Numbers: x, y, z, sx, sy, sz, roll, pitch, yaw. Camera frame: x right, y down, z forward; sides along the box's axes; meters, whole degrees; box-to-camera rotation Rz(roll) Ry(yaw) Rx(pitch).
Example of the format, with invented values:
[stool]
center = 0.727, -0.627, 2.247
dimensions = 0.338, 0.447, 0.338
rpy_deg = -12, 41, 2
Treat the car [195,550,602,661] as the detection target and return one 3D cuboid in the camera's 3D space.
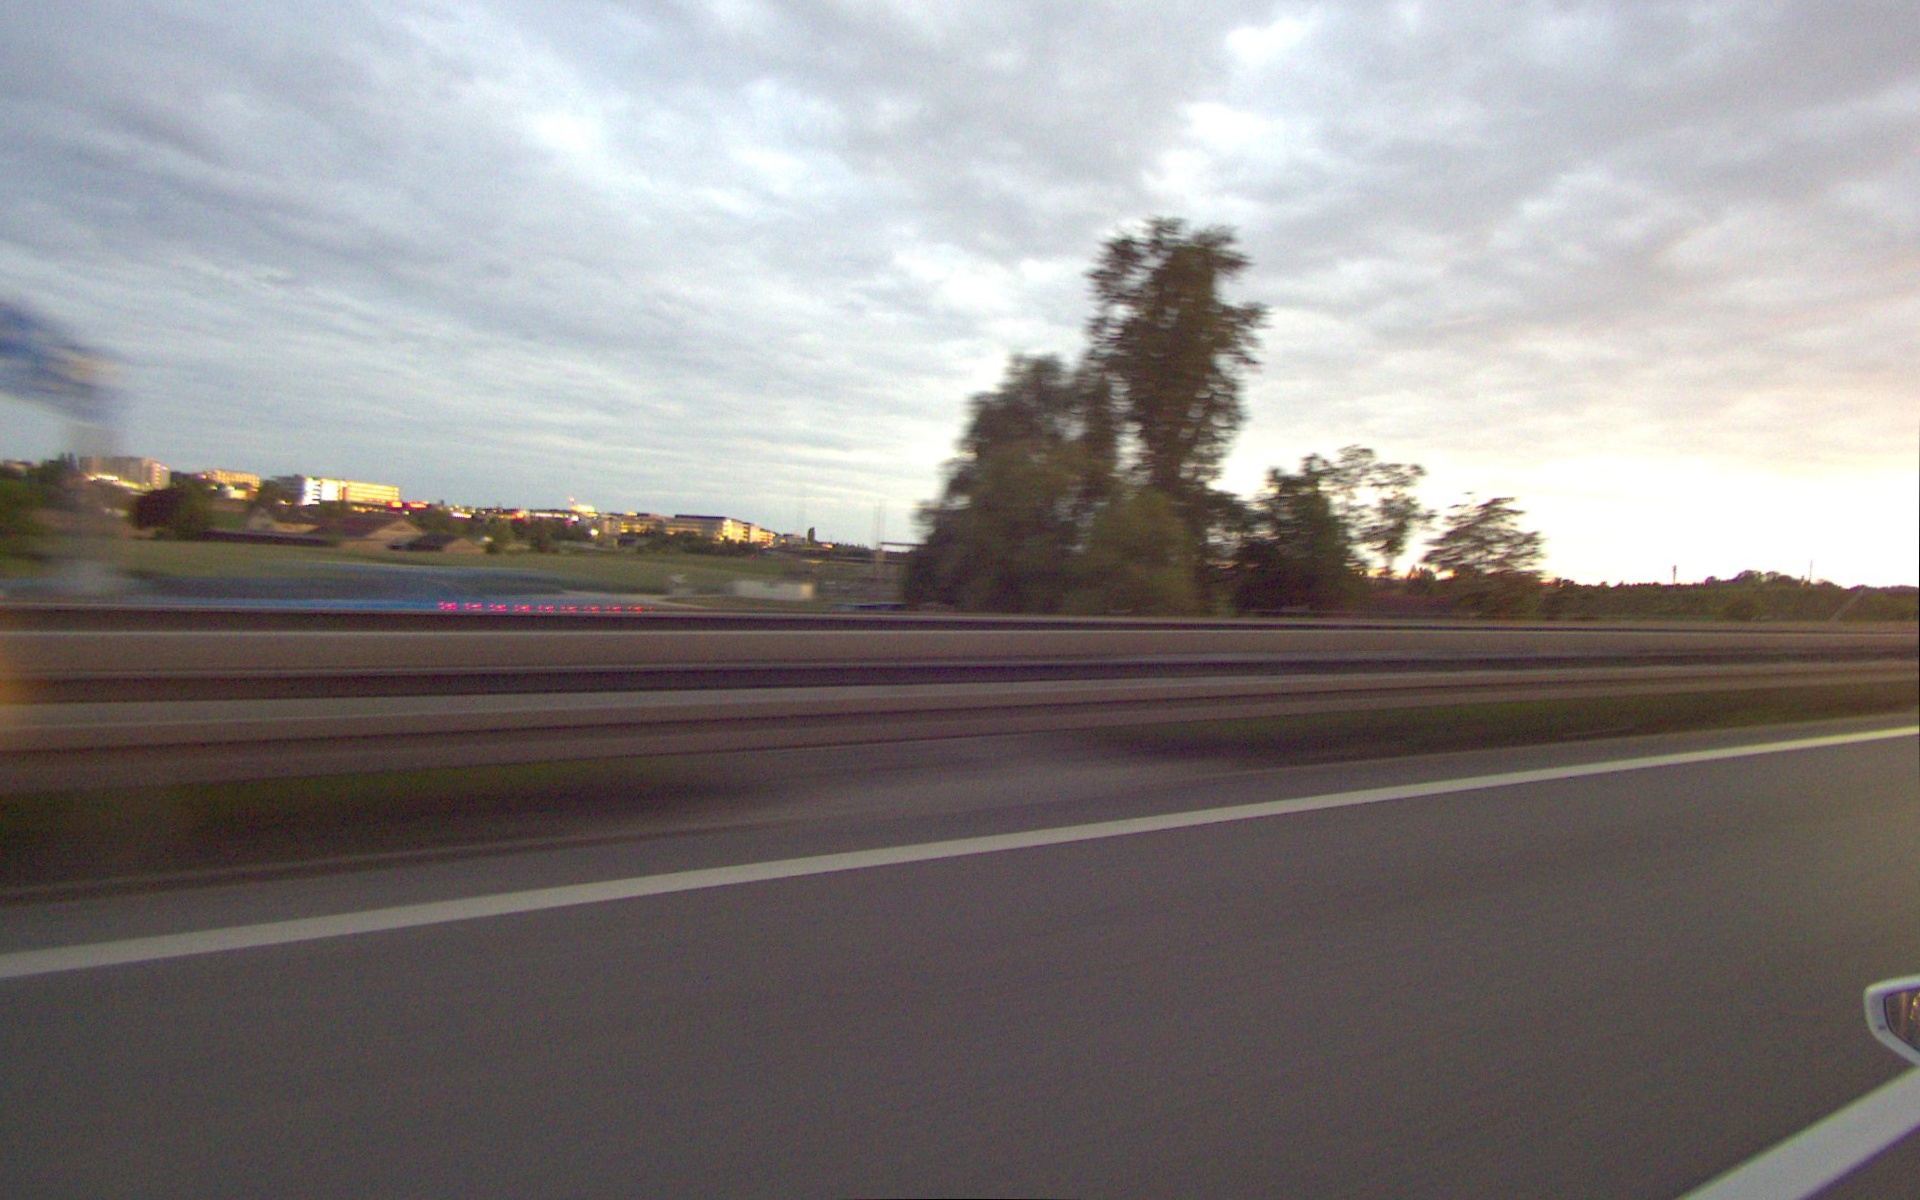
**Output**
[car]
center = -7.878, 0.090, 14.501
dimensions = 4.810, 1.376, 1.983
rpy_deg = 1, 0, -31
